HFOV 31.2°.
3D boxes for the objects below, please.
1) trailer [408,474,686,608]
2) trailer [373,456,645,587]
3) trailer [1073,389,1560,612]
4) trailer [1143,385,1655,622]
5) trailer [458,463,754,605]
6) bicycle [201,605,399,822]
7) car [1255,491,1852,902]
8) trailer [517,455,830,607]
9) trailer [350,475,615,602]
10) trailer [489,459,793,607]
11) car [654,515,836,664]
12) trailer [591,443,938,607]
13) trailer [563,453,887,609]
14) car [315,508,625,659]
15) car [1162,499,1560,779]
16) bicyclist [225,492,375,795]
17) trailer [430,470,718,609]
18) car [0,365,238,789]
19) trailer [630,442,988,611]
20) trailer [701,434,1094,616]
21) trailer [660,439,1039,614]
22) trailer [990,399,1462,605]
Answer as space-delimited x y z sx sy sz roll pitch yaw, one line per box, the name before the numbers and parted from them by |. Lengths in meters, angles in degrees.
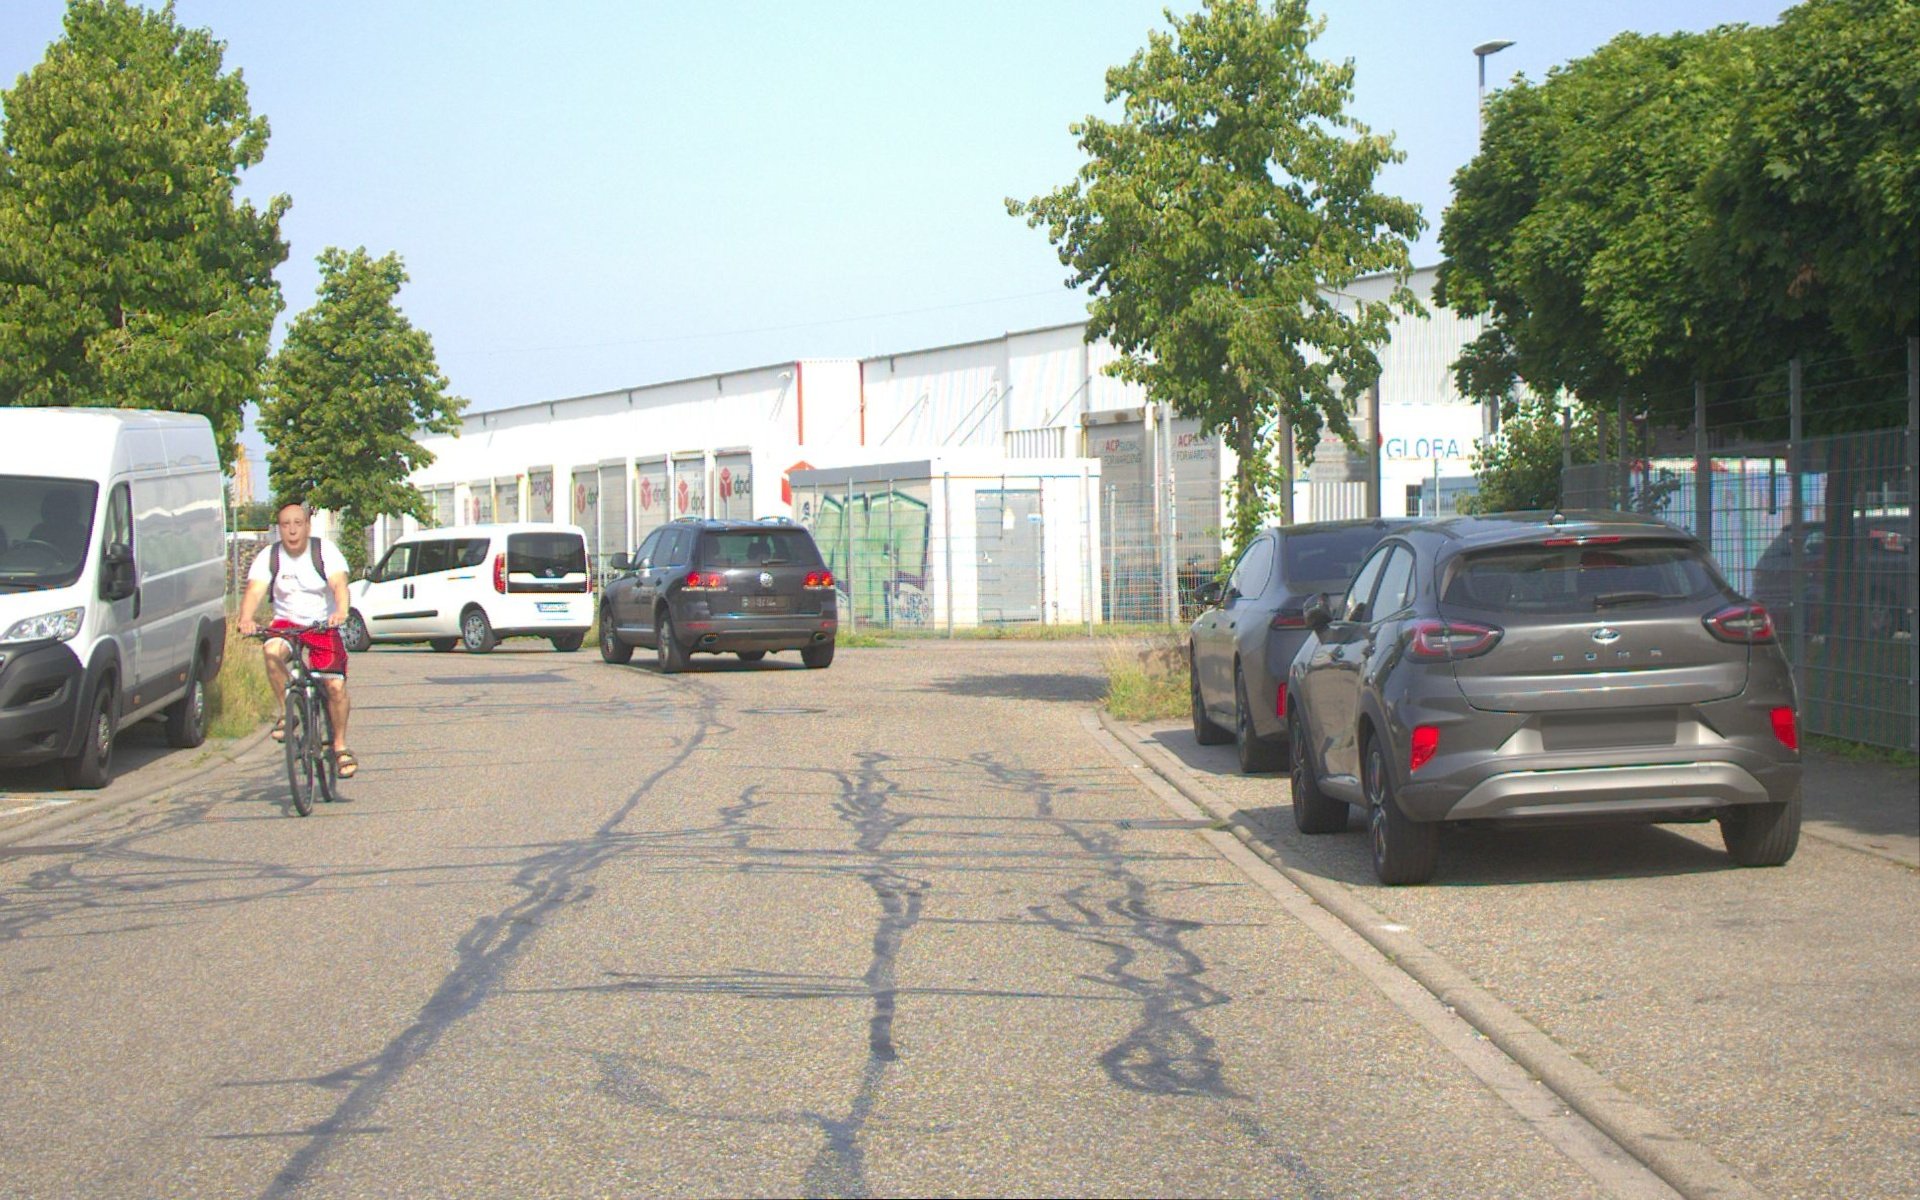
trailer | -12.700 -1.791 105.902 7.960 3.880 2.776 1 1 -25
trailer | -14.244 -2.464 108.717 7.960 3.880 2.776 1 1 -25
trailer | 6.570 -1.853 63.067 8.534 3.880 2.776 -2 1 -23
trailer | 7.692 -1.653 60.056 8.534 3.881 2.776 -1 -2 -22
trailer | -10.230 -1.883 99.589 7.960 3.880 2.776 1 1 -25
bicycle | -3.840 0.631 20.174 0.716 1.118 2.219 -3 1 -1
car | 2.540 0.364 15.741 1.880 1.568 4.114 -2 1 -1
trailer | -7.809 -1.850 93.825 7.960 3.880 2.776 1 1 -25
trailer | -15.474 -1.979 111.458 7.960 3.880 2.776 1 1 -25
trailer | -8.949 -1.853 96.609 7.960 3.880 2.776 1 1 -25
car | -2.391 -0.135 39.132 1.880 1.581 4.114 -1 1 -1
trailer | -4.952 -1.872 87.495 8.305 3.880 2.776 1 1 -25
trailer | -6.220 -1.793 91.272 8.031 3.880 2.776 1 1 -25
car | -7.203 -0.239 50.220 2.122 2.103 4.621 -1 1 -44
car | 2.506 0.205 22.740 1.880 1.568 5.119 -2 1 -1
bicyclist | -3.845 0.236 20.099 0.639 1.713 1.165 -1 1 -1
trailer | -11.468 -1.775 102.226 7.960 3.880 2.776 1 1 -25
car | -6.629 -0.225 24.274 2.102 2.586 6.505 2 1 -4
trailer | -3.696 -1.779 84.702 8.305 3.880 2.776 1 1 -25
trailer | -1.398 -1.685 78.955 8.534 3.880 2.776 1 1 -25
trailer | -2.598 -1.708 81.851 8.534 3.880 2.776 1 1 -25
trailer | 5.119 -1.808 65.712 8.730 3.748 2.791 0 0 -24
